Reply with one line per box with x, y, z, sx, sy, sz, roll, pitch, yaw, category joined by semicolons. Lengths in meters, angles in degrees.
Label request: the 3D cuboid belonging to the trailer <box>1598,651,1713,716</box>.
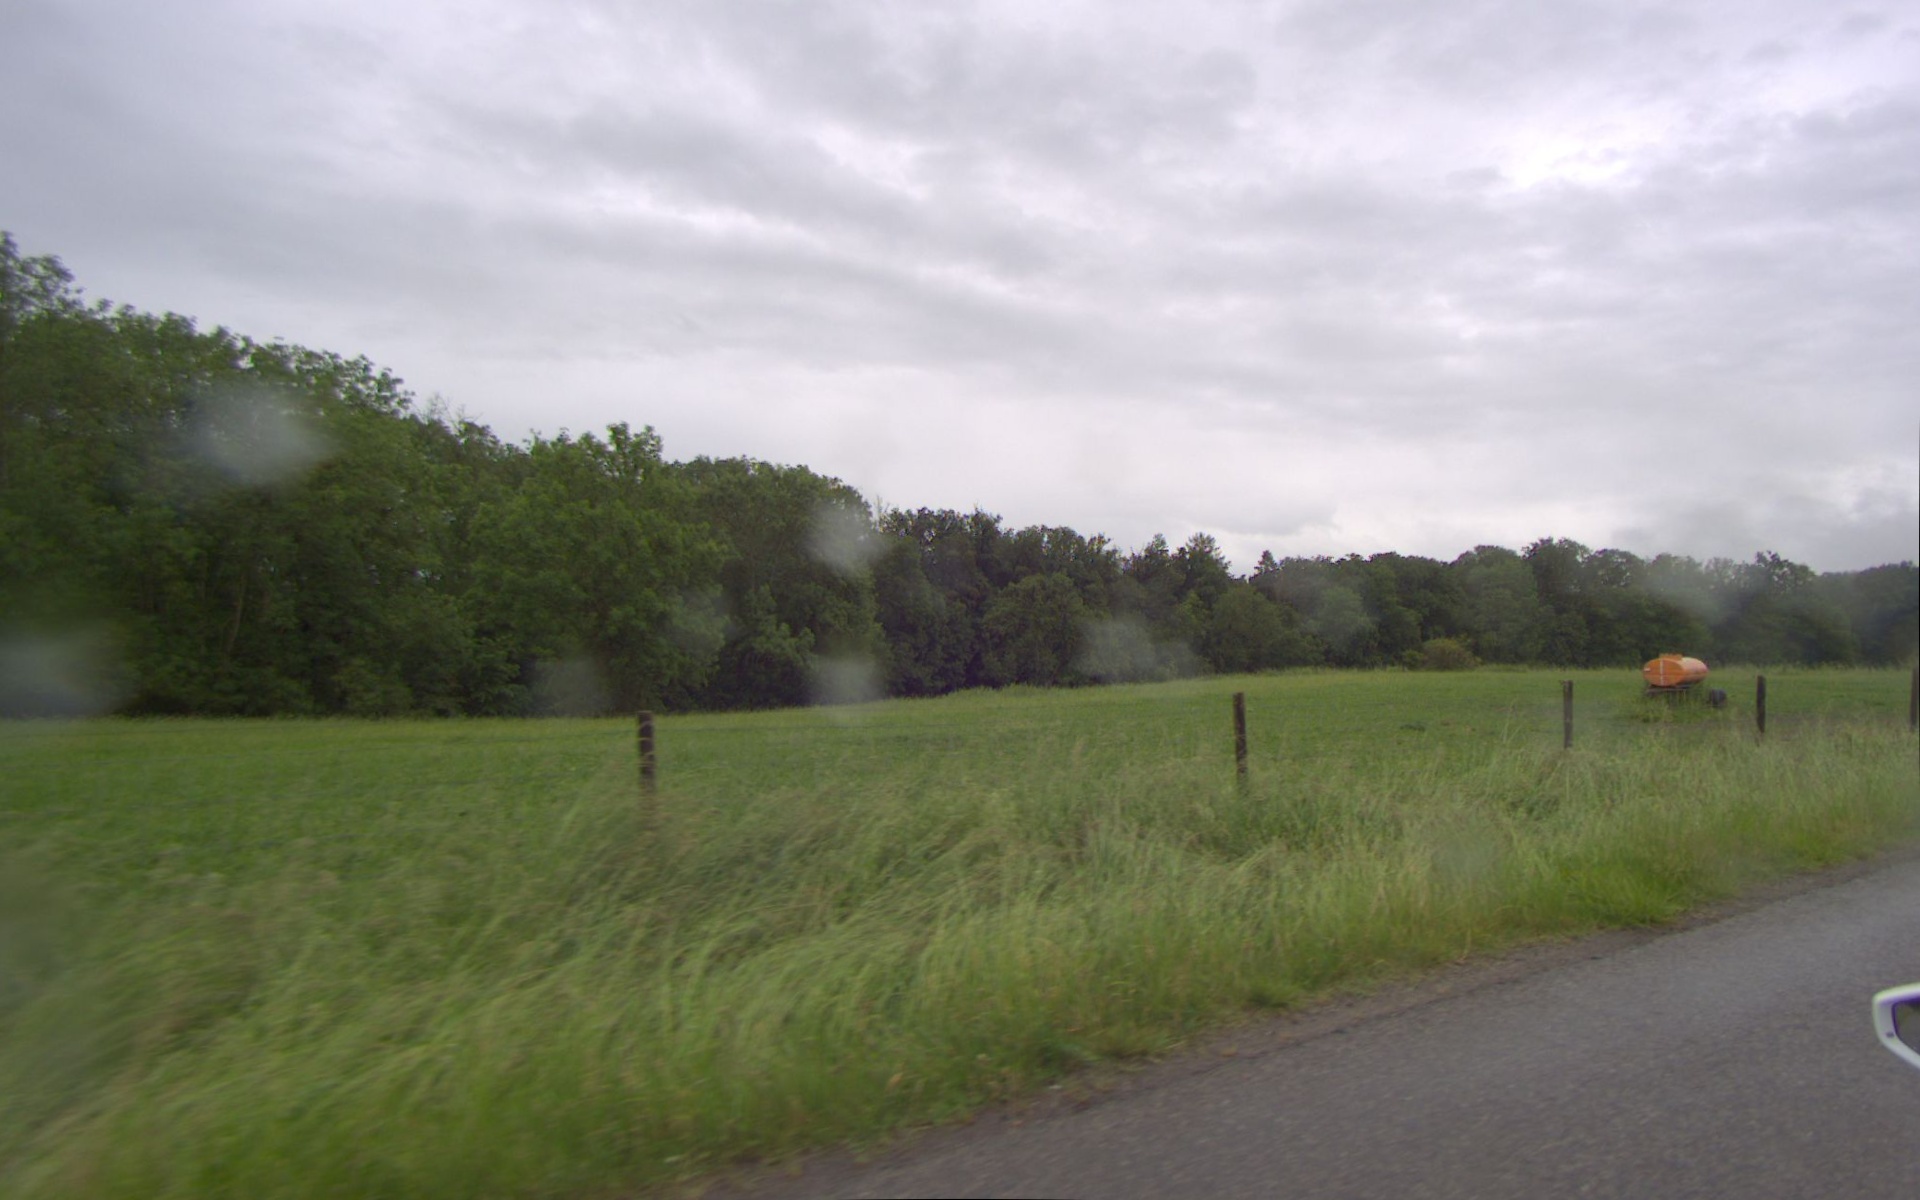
18.018;2.106;25.997;3.066;1.524;1.736;2;-3;-41;trailer
